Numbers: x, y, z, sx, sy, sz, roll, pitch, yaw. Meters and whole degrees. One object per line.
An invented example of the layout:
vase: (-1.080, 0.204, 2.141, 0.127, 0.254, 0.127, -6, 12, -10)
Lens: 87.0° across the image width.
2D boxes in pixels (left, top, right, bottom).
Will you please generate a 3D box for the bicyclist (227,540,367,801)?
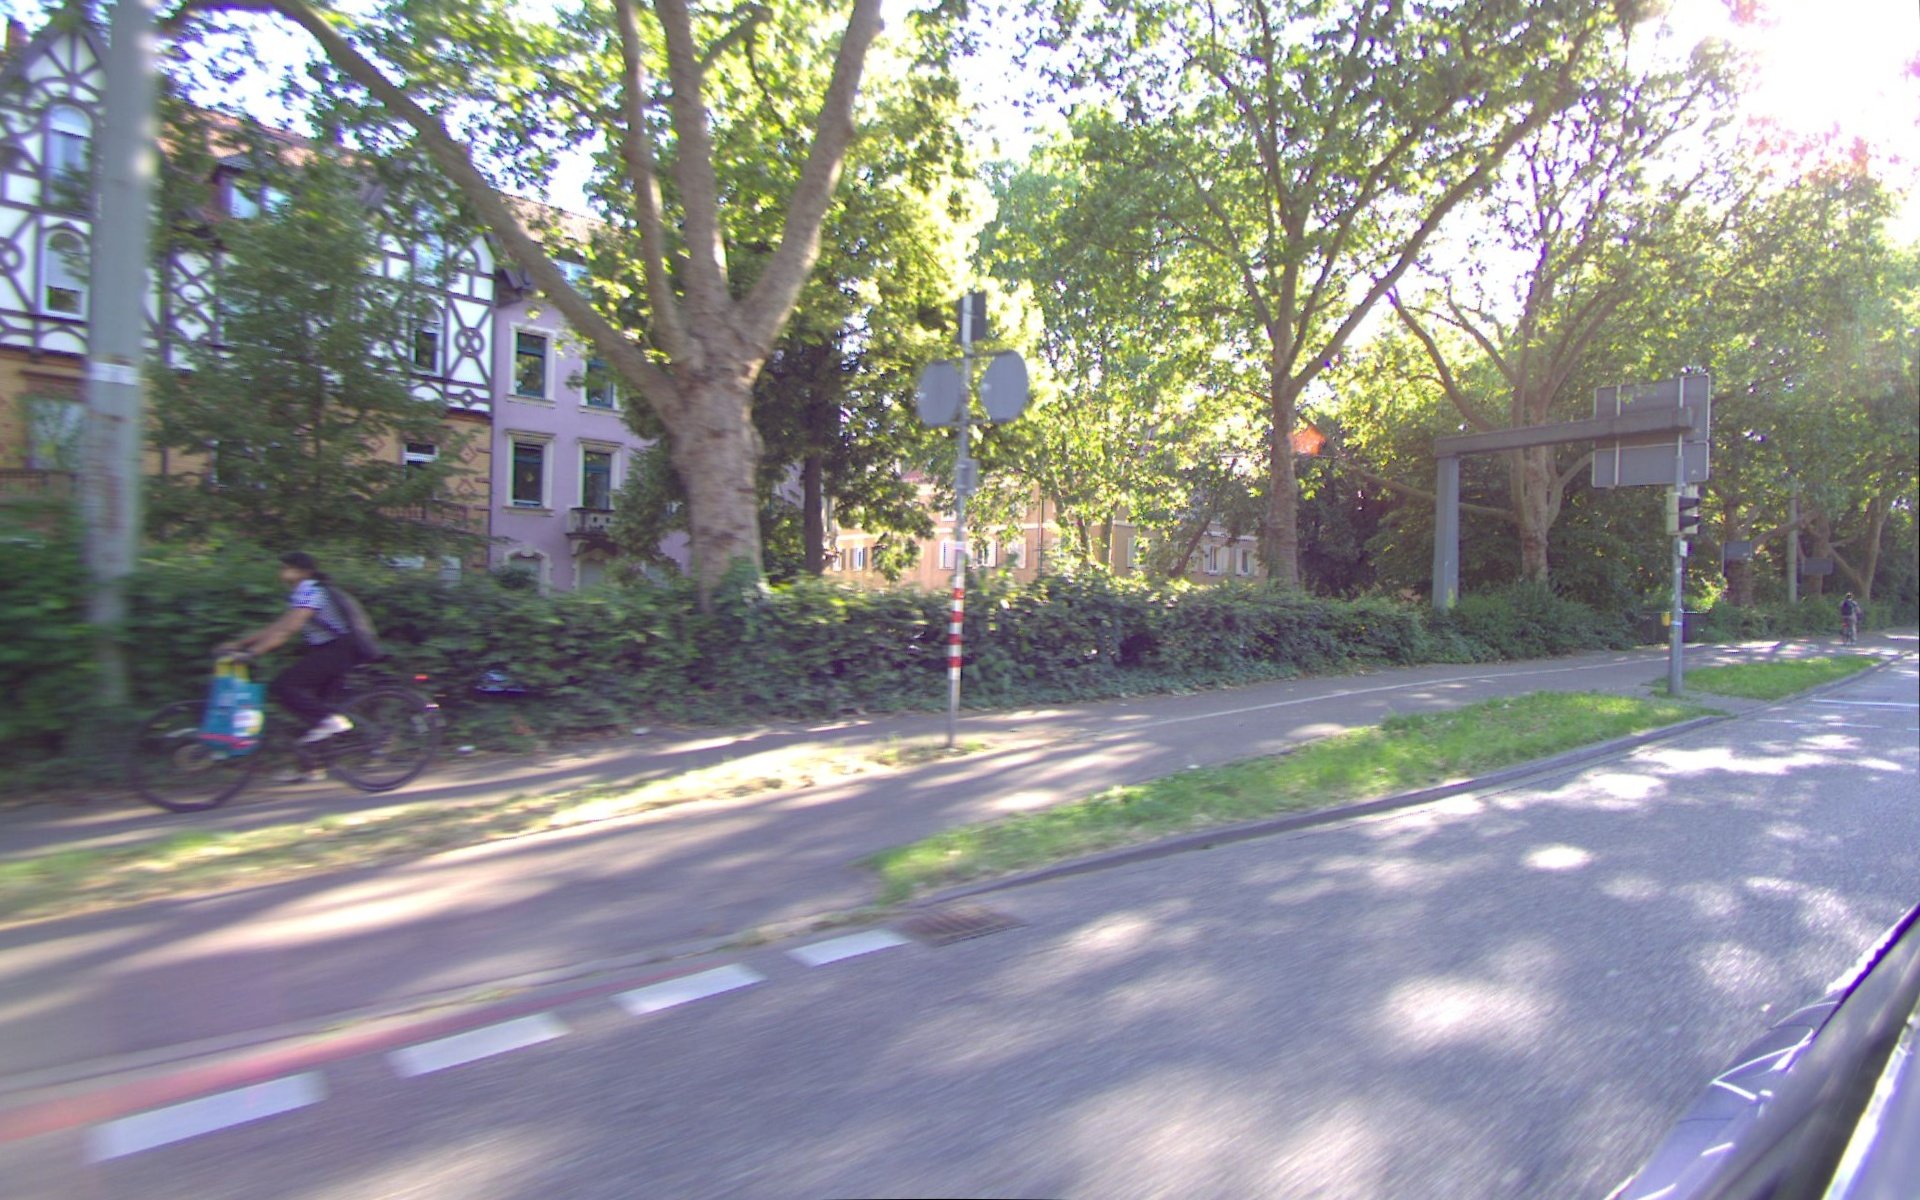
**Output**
bicyclist: (-4.232, 0.410, 6.453, 0.639, 1.532, 0.767, 1, 0, -41)

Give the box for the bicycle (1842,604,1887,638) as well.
bicycle: (31.218, 0.714, 34.927, 1.892, 1.121, 0.702, 1, 0, -33)

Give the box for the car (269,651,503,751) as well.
car: (-11.208, 1.908, 19.812, 3.947, 1.529, 1.790, 2, 0, 18)

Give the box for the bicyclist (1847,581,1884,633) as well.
bicyclist: (31.285, 0.231, 34.970, 1.059, 1.750, 0.702, 1, 0, -33)

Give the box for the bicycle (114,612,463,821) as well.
bicycle: (-4.228, 0.653, 6.452, 1.769, 1.121, 0.767, 0, 0, -41)

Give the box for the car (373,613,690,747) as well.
car: (-5.645, 0.945, 13.524, 3.516, 1.460, 1.796, -1, 0, -42)
